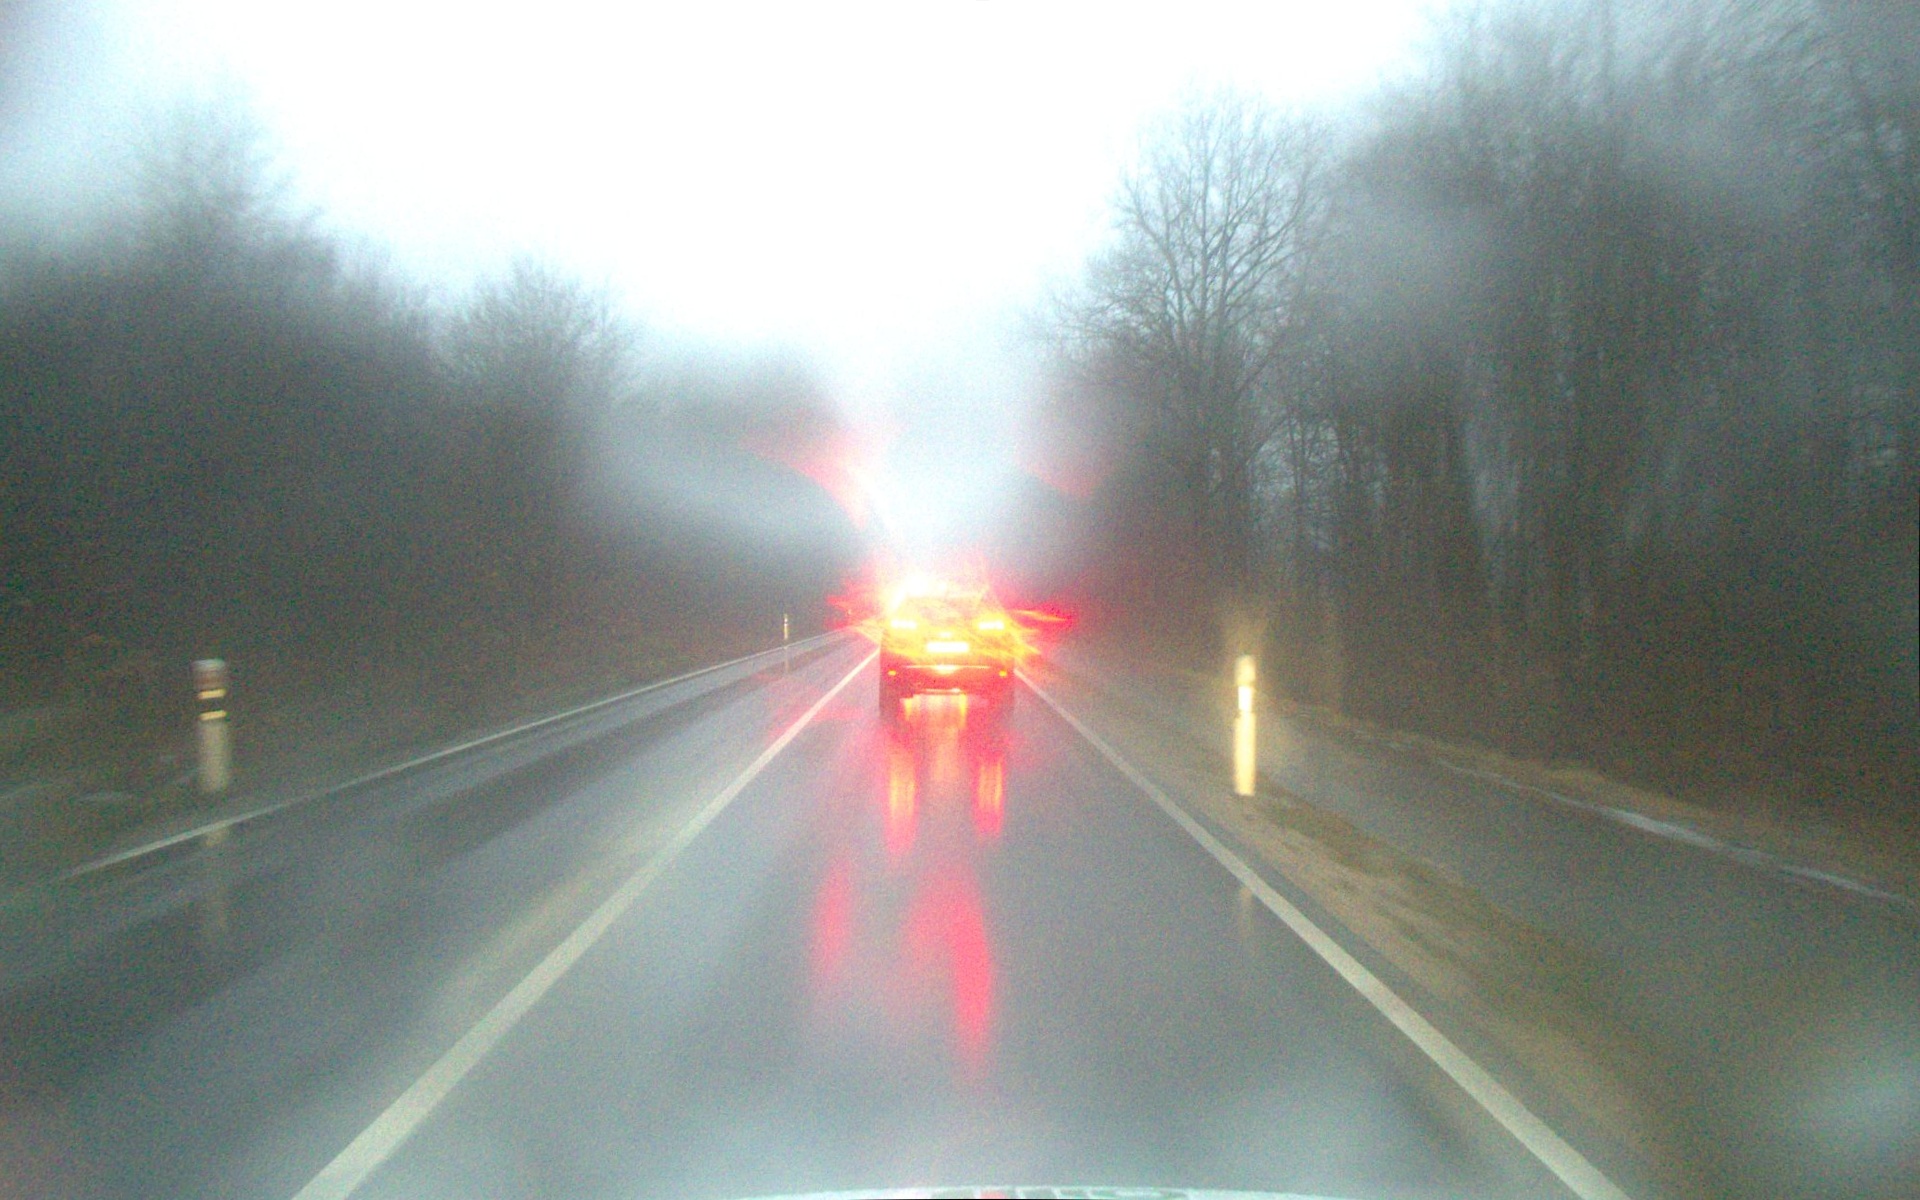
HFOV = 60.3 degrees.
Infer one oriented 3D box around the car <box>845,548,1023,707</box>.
[{"bbox_3d":[-0.373,0.321,22.670,2.154,1.910,4.826,1,0,-2],"label":"car"}]
